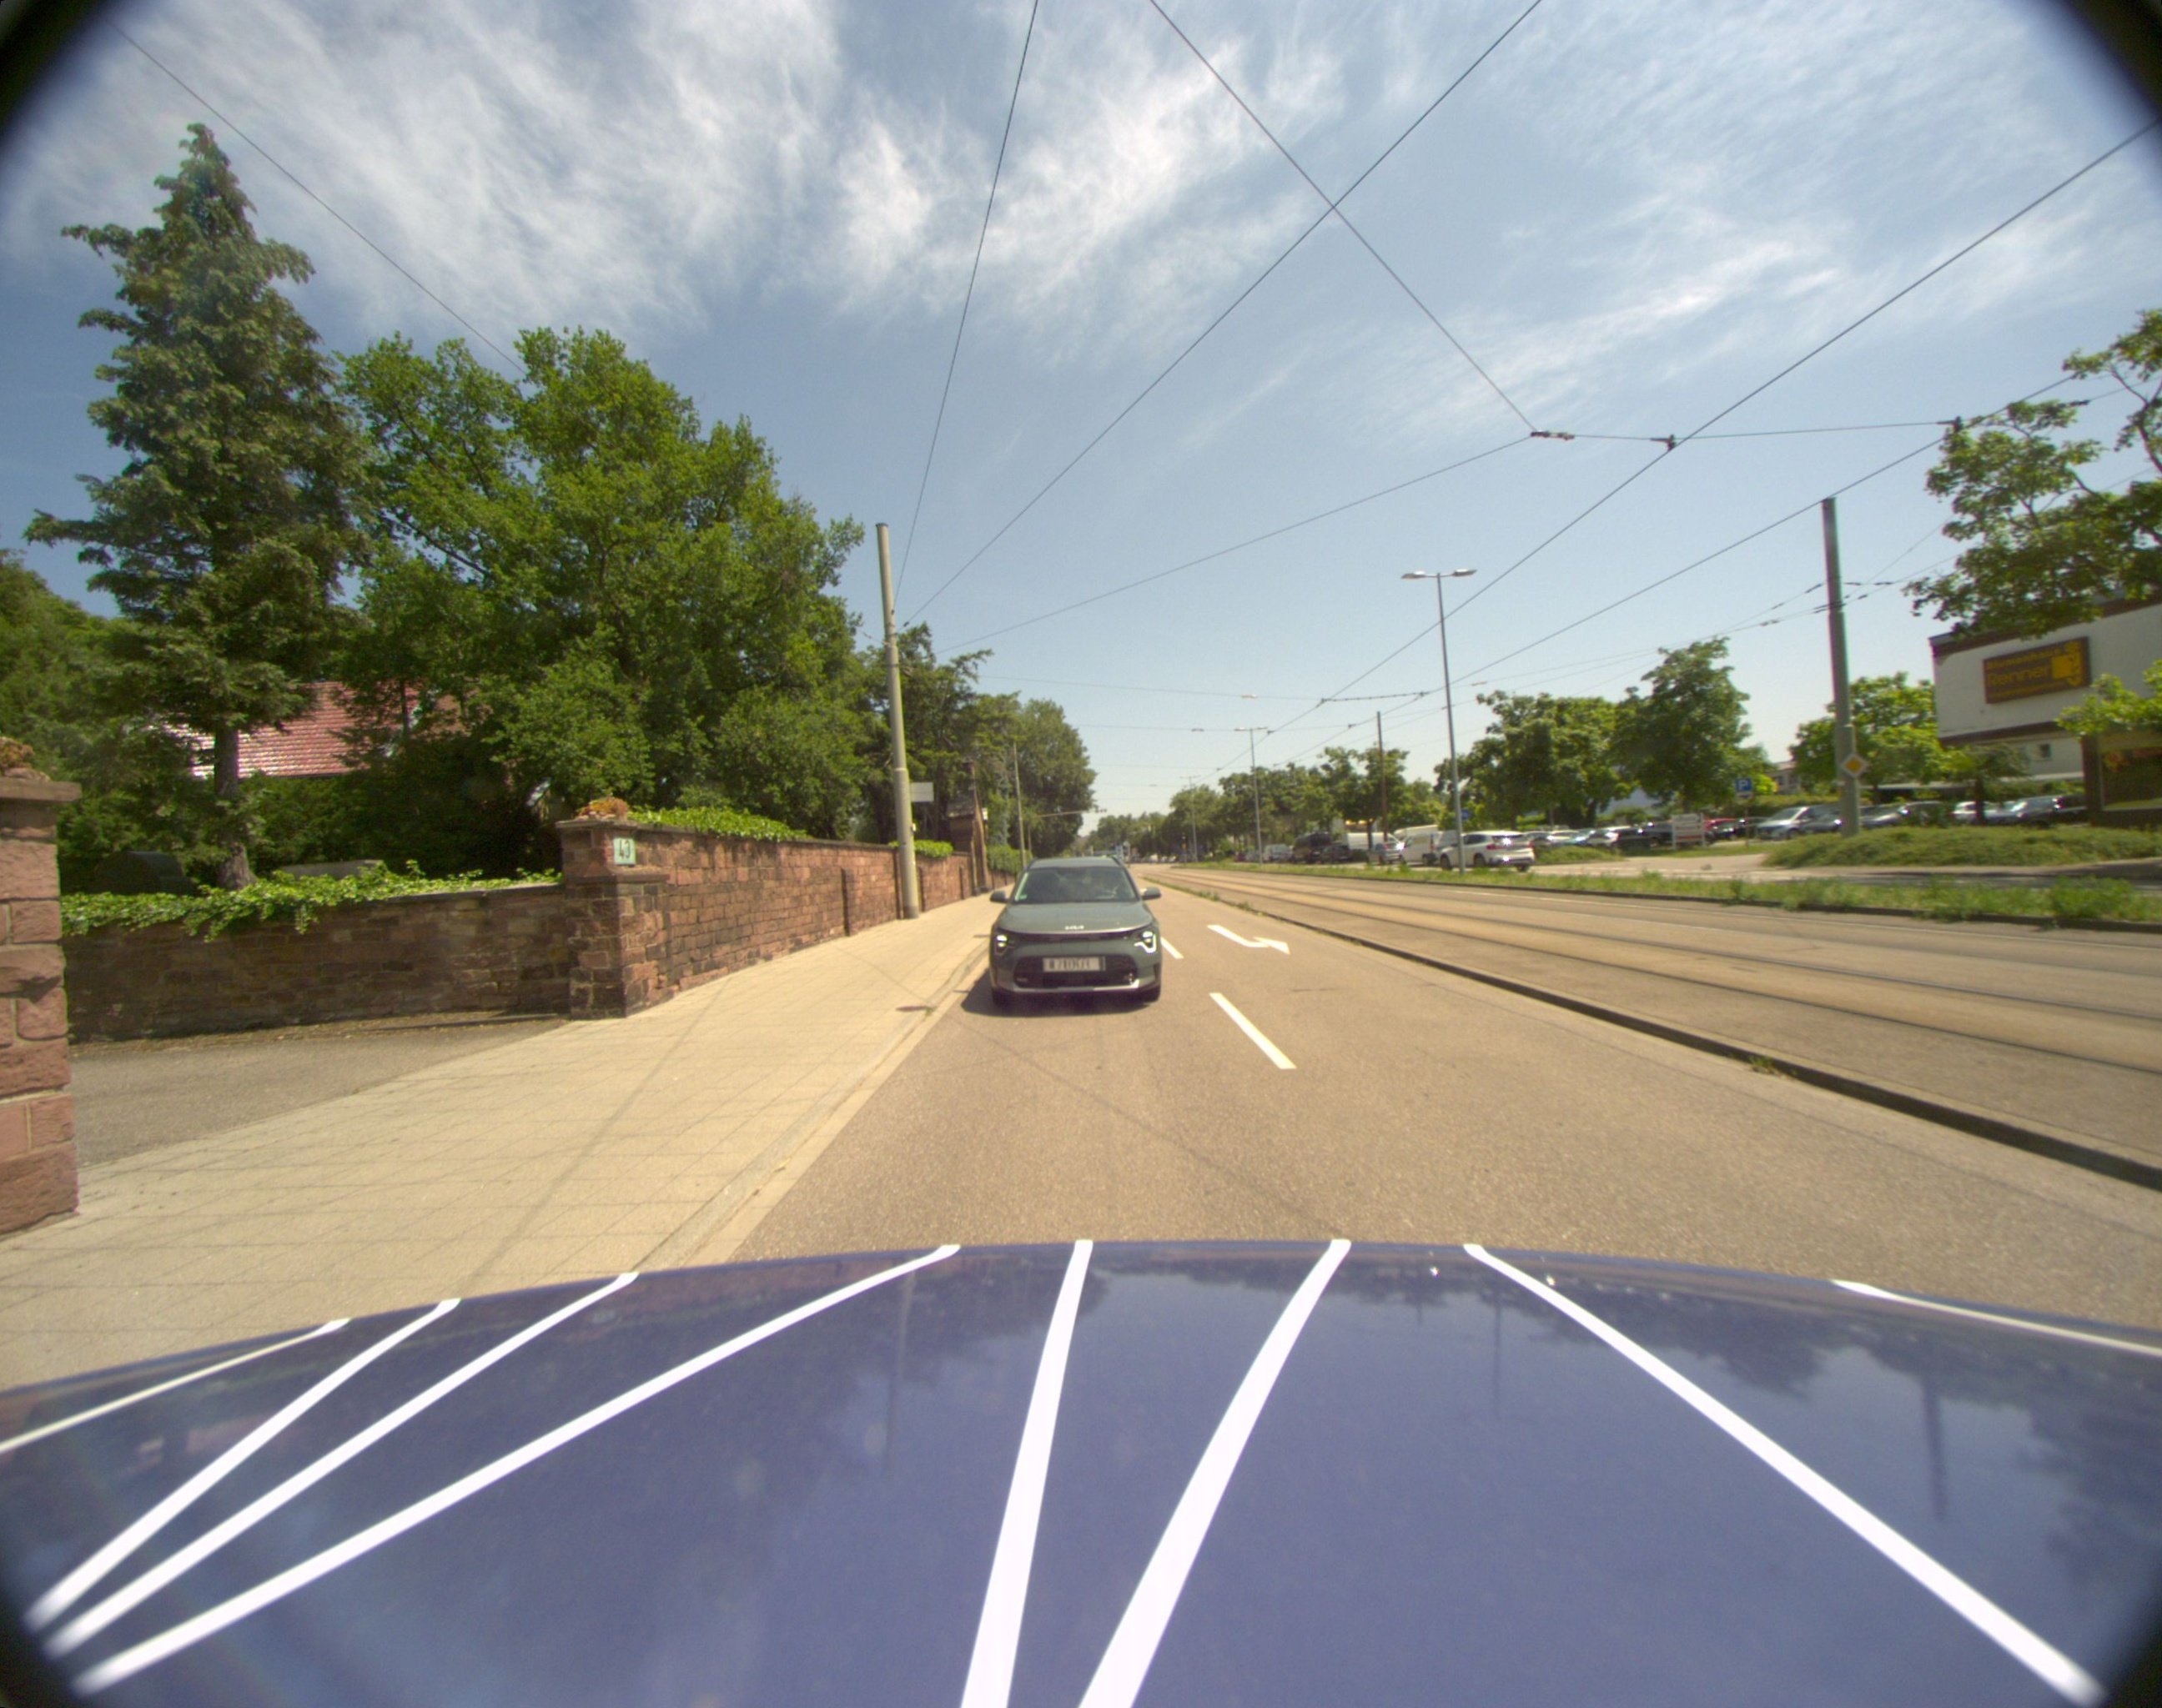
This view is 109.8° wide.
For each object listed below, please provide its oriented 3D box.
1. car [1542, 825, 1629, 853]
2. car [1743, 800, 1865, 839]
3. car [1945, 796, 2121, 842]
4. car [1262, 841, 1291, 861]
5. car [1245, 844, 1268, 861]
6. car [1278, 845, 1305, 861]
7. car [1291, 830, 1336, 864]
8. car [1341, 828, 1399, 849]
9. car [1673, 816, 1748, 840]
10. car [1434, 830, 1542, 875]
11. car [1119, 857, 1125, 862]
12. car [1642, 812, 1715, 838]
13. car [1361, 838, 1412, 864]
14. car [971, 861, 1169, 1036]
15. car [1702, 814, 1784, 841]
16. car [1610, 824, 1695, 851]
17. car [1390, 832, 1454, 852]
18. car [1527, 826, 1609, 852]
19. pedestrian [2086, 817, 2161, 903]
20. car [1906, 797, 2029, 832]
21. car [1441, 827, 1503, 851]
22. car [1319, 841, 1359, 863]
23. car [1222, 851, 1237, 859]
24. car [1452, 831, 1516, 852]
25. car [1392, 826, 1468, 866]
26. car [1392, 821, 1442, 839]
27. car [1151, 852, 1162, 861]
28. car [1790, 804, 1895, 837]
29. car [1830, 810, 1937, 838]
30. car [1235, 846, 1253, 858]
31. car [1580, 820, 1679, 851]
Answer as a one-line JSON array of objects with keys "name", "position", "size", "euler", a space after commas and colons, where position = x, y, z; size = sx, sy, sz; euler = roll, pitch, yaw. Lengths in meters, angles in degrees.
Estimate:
[{"name": "car", "position": [30.416, -0.886, 45.889], "size": [4.040, 1.481, 1.912], "euler": [-3, 1, -6]}, {"name": "car", "position": [43.363, -2.051, 45.666], "size": [5.120, 2.058, 2.226], "euler": [-2, 1, 1]}, {"name": "car", "position": [34.048, -1.218, 27.259], "size": [3.996, 1.289, 1.682], "euler": [-4, -1, 2]}, {"name": "car", "position": [20.596, -0.365, 80.319], "size": [1.924, 1.937, 4.817], "euler": [-2, 1, 2]}, {"name": "car", "position": [20.882, -0.211, 90.557], "size": [1.635, 1.882, 4.496], "euler": [-2, 1, 1]}, {"name": "car", "position": [20.616, -0.130, 74.469], "size": [1.767, 1.456, 3.608], "euler": [-2, 1, 2]}, {"name": "car", "position": [20.265, -0.619, 66.416], "size": [2.244, 2.821, 5.667], "euler": [-2, 1, 1]}, {"name": "car", "position": [30.643, -1.672, 80.681], "size": [5.434, 1.944, 2.029], "euler": [-2, 1, 2]}, {"name": "car", "position": [44.238, -1.831, 53.403], "size": [3.999, 1.486, 1.715], "euler": [-3, 1, -5]}, {"name": "car", "position": [15.957, -0.077, 30.116], "size": [1.728, 1.601, 4.569], "euler": [-2, 1, -1]}, {"name": "car", "position": [12.815, 1.838, 239.855], "size": [1.820, 1.471, 3.423], "euler": [-2, 1, 3]}, {"name": "car", "position": [43.738, -2.140, 55.683], "size": [4.129, 1.643, 1.692], "euler": [-3, 0, -5]}, {"name": "car", "position": [20.175, -0.205, 50.298], "size": [1.654, 1.494, 4.126], "euler": [-7, 0, 1]}, {"name": "car", "position": [-0.112, 0.921, 9.355], "size": [1.824, 1.577, 4.287], "euler": [-2, 0, 0]}, {"name": "car", "position": [43.907, -1.732, 50.423], "size": [3.997, 1.576, 1.684], "euler": [-2, 1, -1]}, {"name": "car", "position": [30.539, -0.874, 40.636], "size": [3.423, 1.225, 1.643], "euler": [-4, 0, -6]}, {"name": "car", "position": [31.246, -1.080, 69.779], "size": [4.926, 1.567, 2.000], "euler": [-4, 0, -2]}, {"name": "car", "position": [30.940, -0.960, 48.345], "size": [4.146, 1.481, 1.859], "euler": [-3, 1, -6]}, {"name": "pedestrian", "position": [26.692, 0.125, 17.423], "size": [1.998, 2.002, 3.999], "euler": [-2, 1, 0]}, {"name": "car", "position": [43.905, -1.941, 37.682], "size": [3.996, 1.511, 1.661], "euler": [-2, 1, 3]}, {"name": "car", "position": [31.631, -1.198, 61.499], "size": [3.998, 1.707, 1.797], "euler": [-4, 0, -3]}, {"name": "car", "position": [20.335, -0.155, 60.053], "size": [1.976, 1.568, 3.752], "euler": [-2, 1, 1]}, {"name": "car", "position": [21.368, 0.124, 109.141], "size": [1.582, 1.152, 3.423], "euler": [-2, 1, 3]}, {"name": "car", "position": [31.183, -0.952, 58.844], "size": [3.998, 1.398, 1.797], "euler": [-2, 0, -3]}, {"name": "car", "position": [20.040, -0.438, 43.947], "size": [1.880, 1.999, 5.344], "euler": [-7, 0, 1]}, {"name": "car", "position": [44.540, -3.199, 100.764], "size": [5.744, 2.051, 2.147], "euler": [-3, 1, -2]}, {"name": "car", "position": [16.663, 0.560, 167.757], "size": [1.821, 1.979, 4.212], "euler": [-3, 1, -3]}, {"name": "car", "position": [43.272, -1.900, 43.245], "size": [3.996, 1.647, 1.804], "euler": [-2, 1, 3]}, {"name": "car", "position": [42.763, -1.598, 40.546], "size": [3.724, 1.277, 1.764], "euler": [-2, 1, 3]}, {"name": "car", "position": [20.801, -0.255, 97.086], "size": [1.582, 1.471, 3.423], "euler": [-2, 1, 3]}, {"name": "car", "position": [31.134, -1.045, 43.204], "size": [4.171, 1.481, 1.984], "euler": [-4, 0, -1]}]
